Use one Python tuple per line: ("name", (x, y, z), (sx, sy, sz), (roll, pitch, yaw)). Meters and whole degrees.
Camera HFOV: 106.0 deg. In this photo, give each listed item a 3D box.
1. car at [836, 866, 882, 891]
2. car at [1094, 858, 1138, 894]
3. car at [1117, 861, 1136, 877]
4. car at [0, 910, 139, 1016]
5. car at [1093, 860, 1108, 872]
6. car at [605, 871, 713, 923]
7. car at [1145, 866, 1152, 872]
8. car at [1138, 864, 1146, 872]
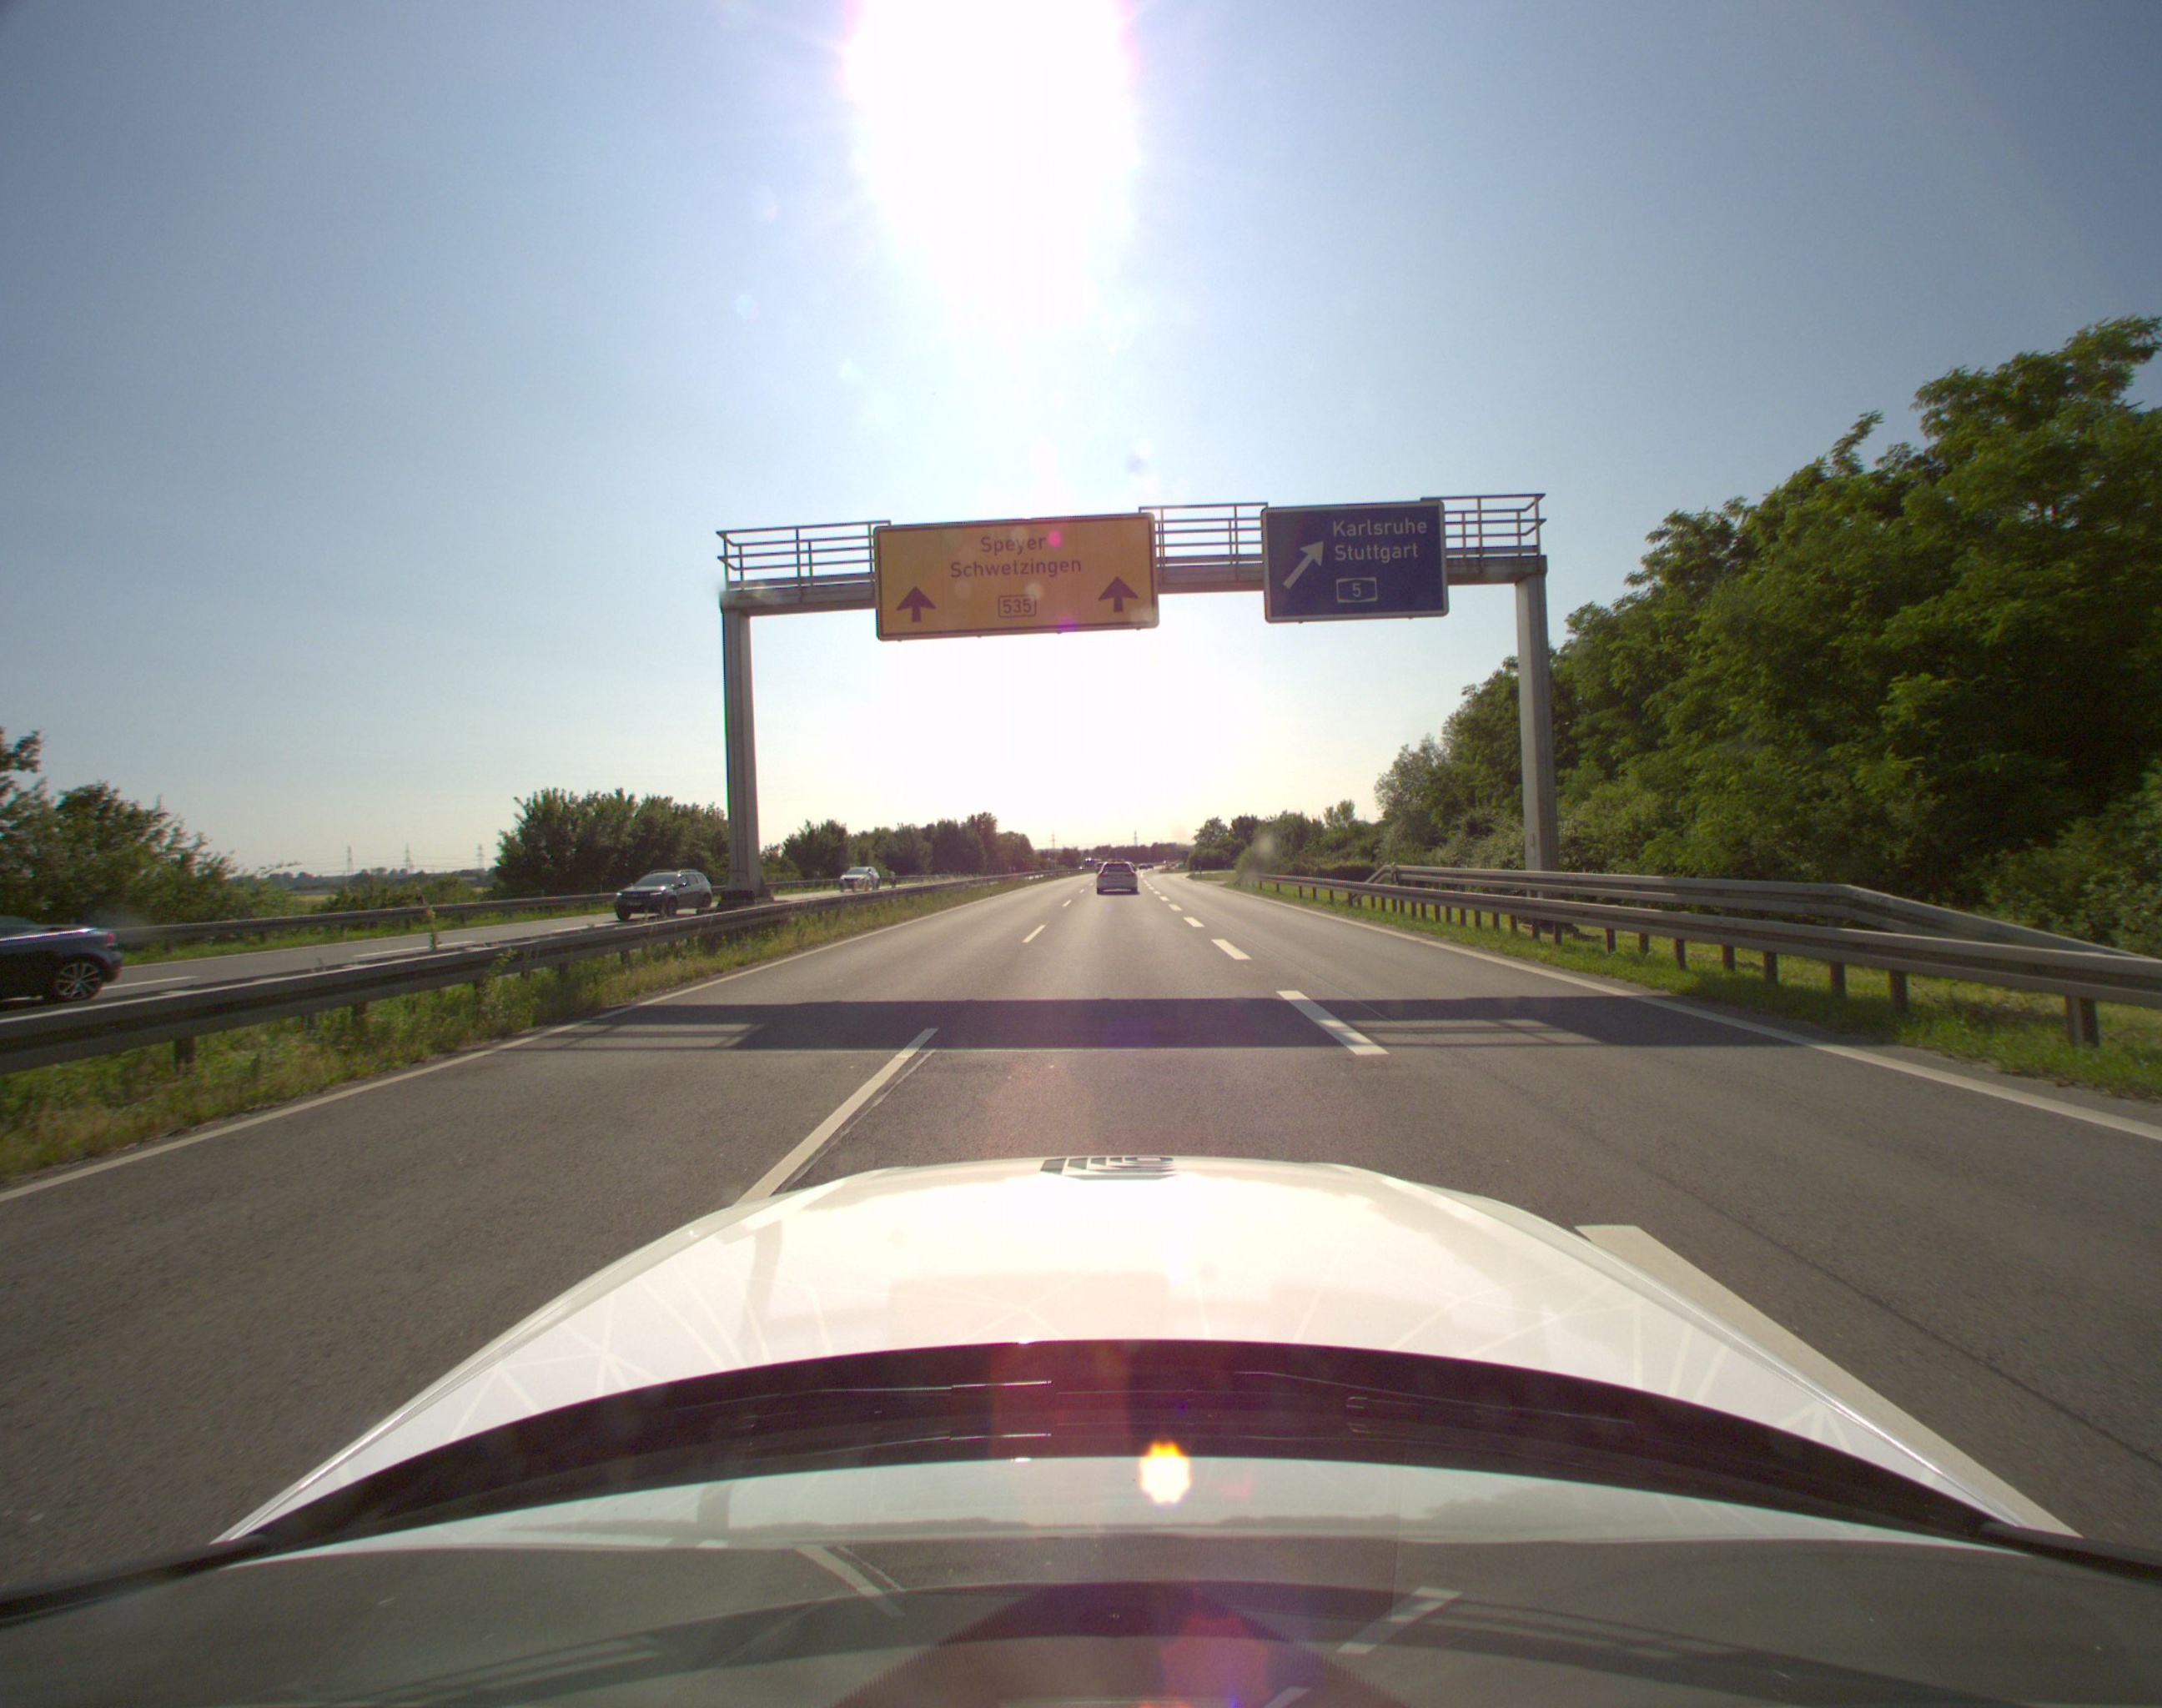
("car", (-15.046, 1.629, 55.422), (1.896, 1.620, 4.626), (0, -1, -2))
("car", (1.580, 0.986, 38.129), (1.951, 1.601, 4.107), (0, 0, 1))
("car", (4.315, 1.423, 77.789), (1.786, 1.543, 3.673), (-1, -1, 2))
("car", (-14.886, 1.479, 10.312), (1.561, 1.270, 3.715), (1, 0, 0))
("car", (2.576, 1.578, 106.014), (1.788, 1.503, 4.041), (-1, -1, -1))
("car", (-14.871, 1.459, 28.960), (1.727, 1.617, 4.001), (-1, 0, 0))
("car", (18.031, 4.014, 217.582), (1.833, 1.698, 4.004), (-1, -1, 4))
("car", (14.341, 3.285, 191.362), (1.833, 1.803, 4.005), (-1, -1, 4))
